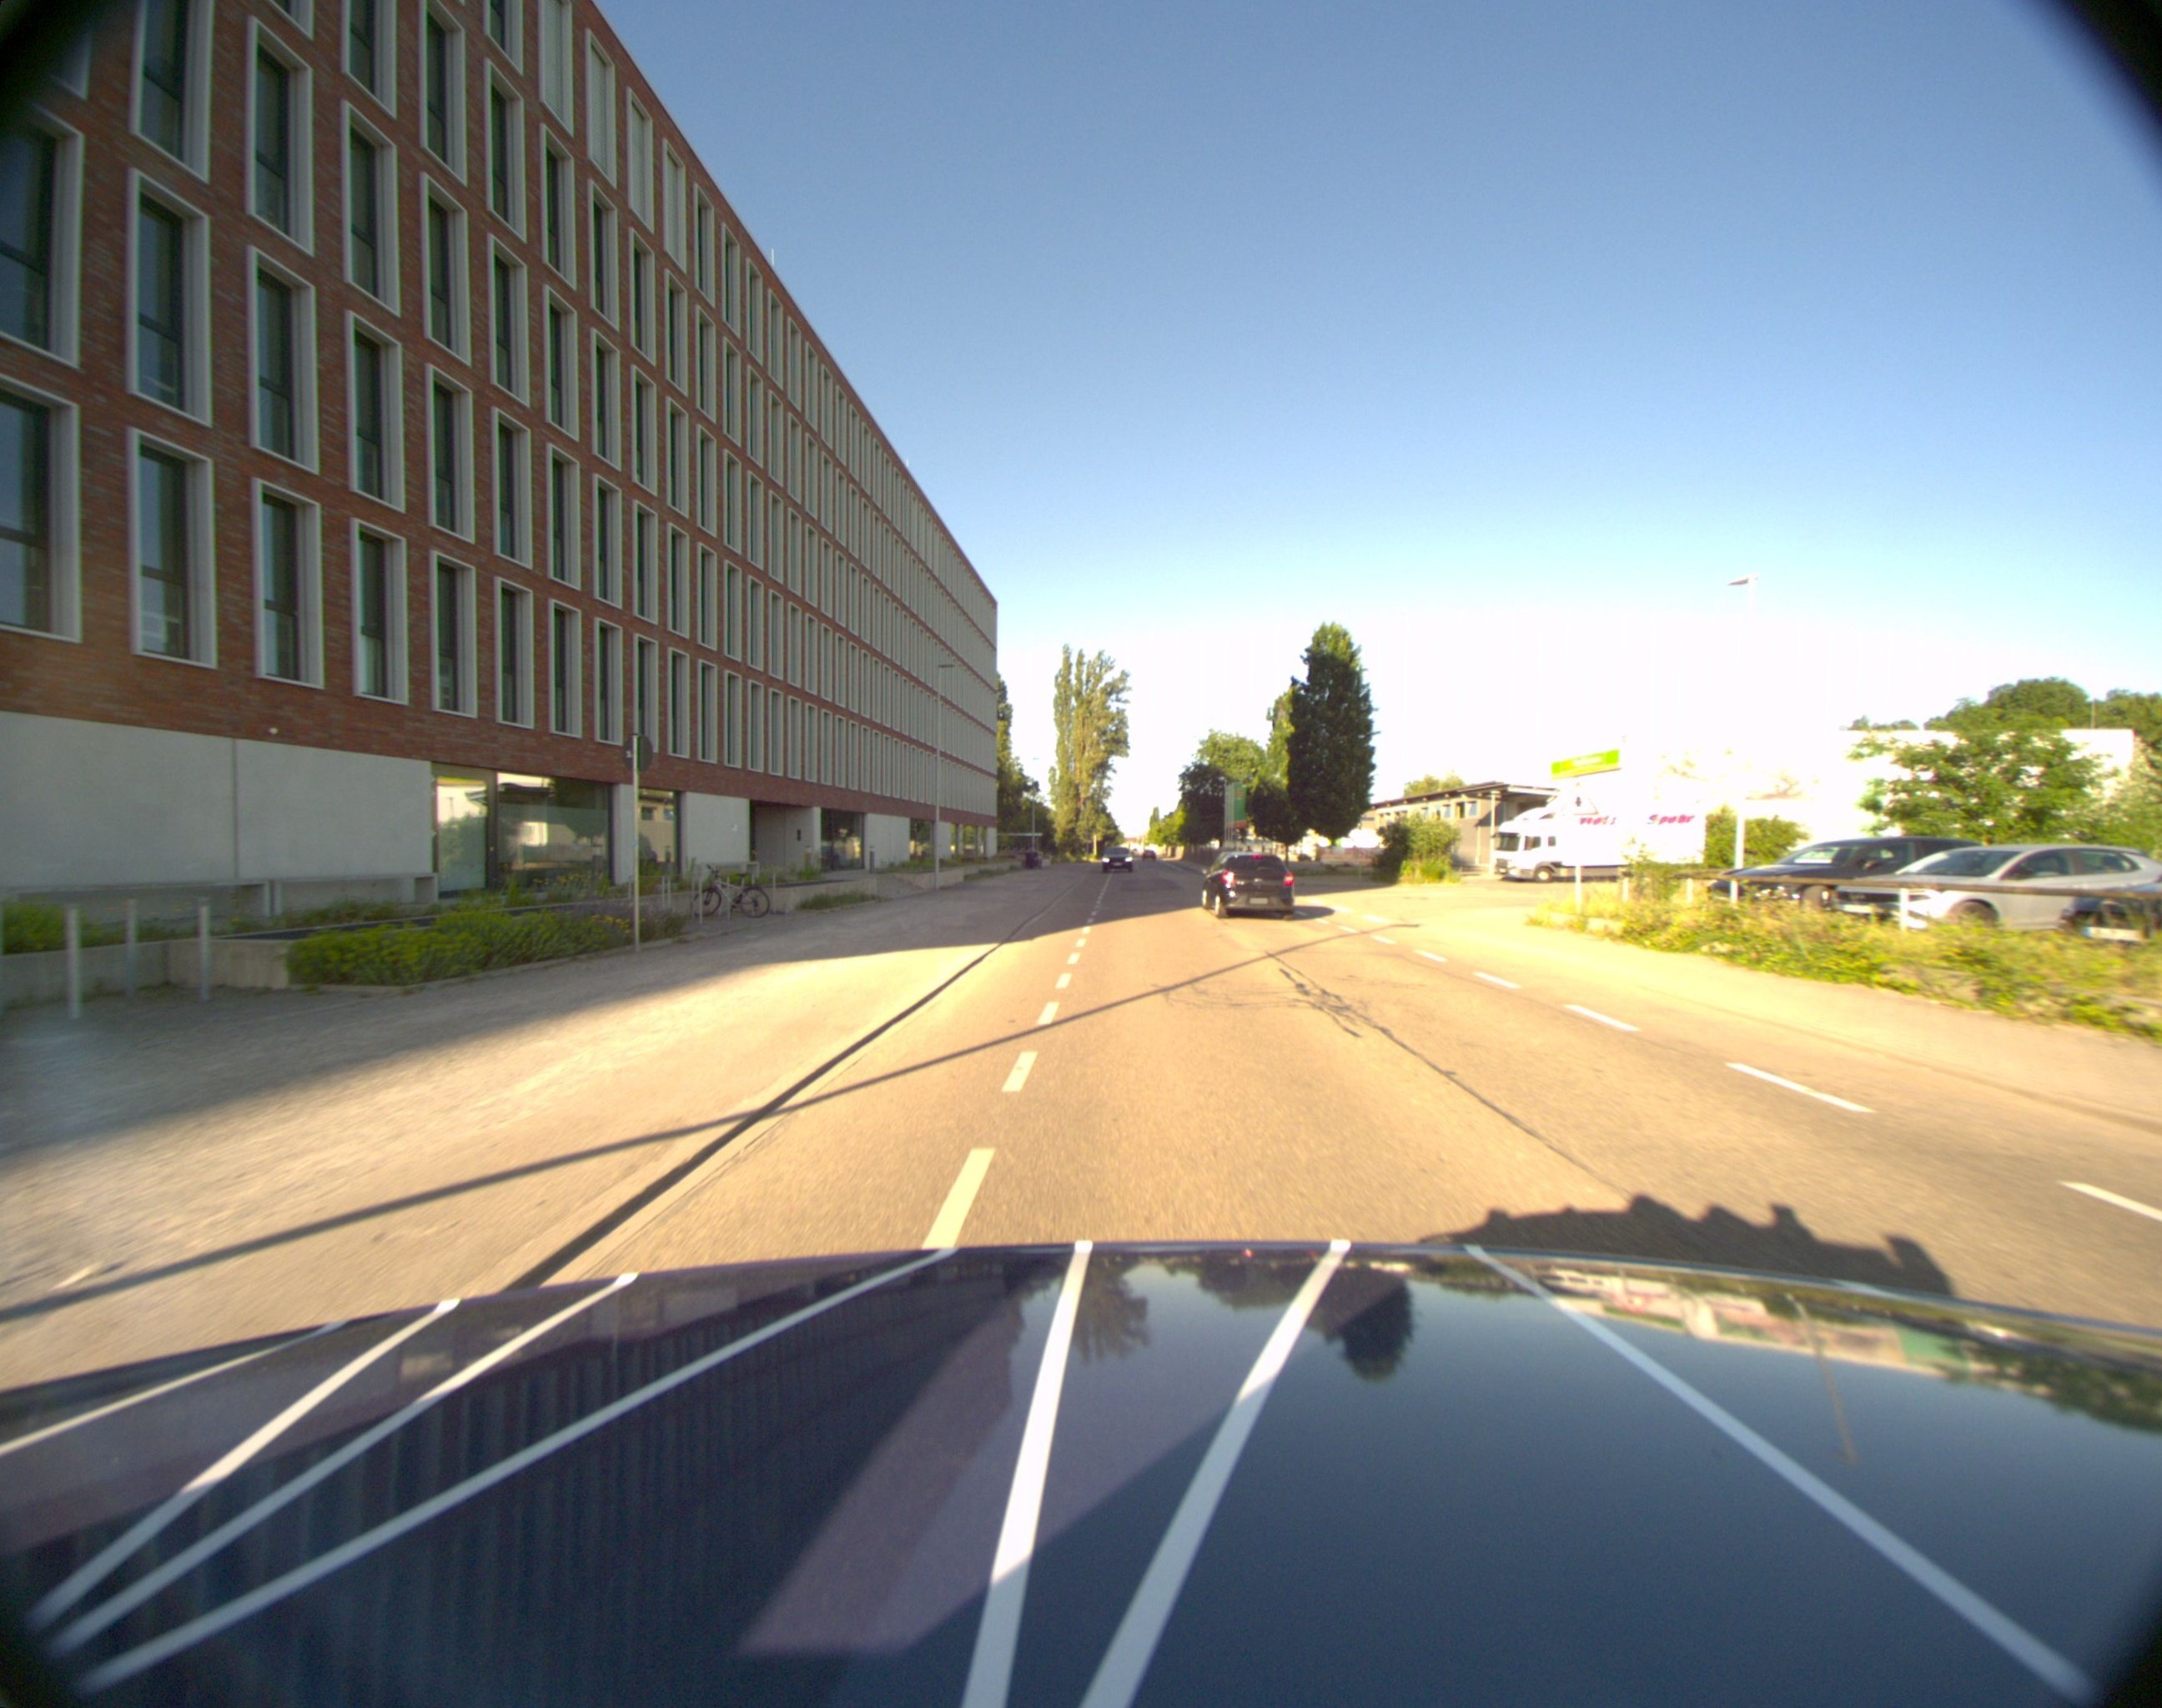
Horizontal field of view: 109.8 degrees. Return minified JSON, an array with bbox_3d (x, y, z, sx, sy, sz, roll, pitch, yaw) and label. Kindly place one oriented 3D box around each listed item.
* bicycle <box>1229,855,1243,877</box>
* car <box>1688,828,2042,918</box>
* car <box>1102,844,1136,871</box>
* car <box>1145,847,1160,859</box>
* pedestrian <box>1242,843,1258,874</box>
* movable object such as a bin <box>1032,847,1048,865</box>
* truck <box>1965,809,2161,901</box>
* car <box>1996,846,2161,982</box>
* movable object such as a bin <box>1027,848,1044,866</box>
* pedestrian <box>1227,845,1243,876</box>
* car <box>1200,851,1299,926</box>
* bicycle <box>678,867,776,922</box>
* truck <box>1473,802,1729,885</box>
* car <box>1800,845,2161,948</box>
[{"bbox_3d":[8.712,0.665,42.716,0.447,1.142,2.201,-2,1,4],"label":"bicycle"},{"bbox_3d":[14.634,0.338,14.465,4.438,1.571,2.049,-1,1,5],"label":"car"},{"bbox_3d":[2.578,0.212,50.619,1.998,1.608,4.001,-4,0,5],"label":"car"},{"bbox_3d":[9.471,-0.125,100.881,1.744,1.517,4.112,3,1,3],"label":"car"},{"bbox_3d":[9.569,0.246,42.959,0.722,1.711,1.057,0,1,4],"label":"pedestrian"},{"bbox_3d":[-3.169,0.170,58.711,1.131,1.364,1.345,0,1,3],"label":"movable object such as a bin"},{"bbox_3d":[33.143,0.019,24.429,6.510,2.791,2.316,0,1,2],"label":"truck"},{"bbox_3d":[13.944,0.629,8.607,4.438,1.453,2.049,-1,1,5],"label":"car"},{"bbox_3d":[-3.399,0.203,57.289,1.131,1.328,1.345,0,1,3],"label":"movable object such as a bin"},{"bbox_3d":[8.664,0.370,42.772,0.722,1.711,1.057,0,1,4],"label":"pedestrian"},{"bbox_3d":[3.869,0.721,18.041,1.657,1.495,4.000,1,1,3],"label":"car"},{"bbox_3d":[-7.739,0.882,16.623,1.937,1.163,0.375,1,1,-2],"label":"bicycle"},{"bbox_3d":[24.570,-0.493,36.295,10.122,3.594,2.776,-1,2,3],"label":"truck"},{"bbox_3d":[14.453,0.605,11.822,4.438,1.453,2.049,-1,1,5],"label":"car"}]
